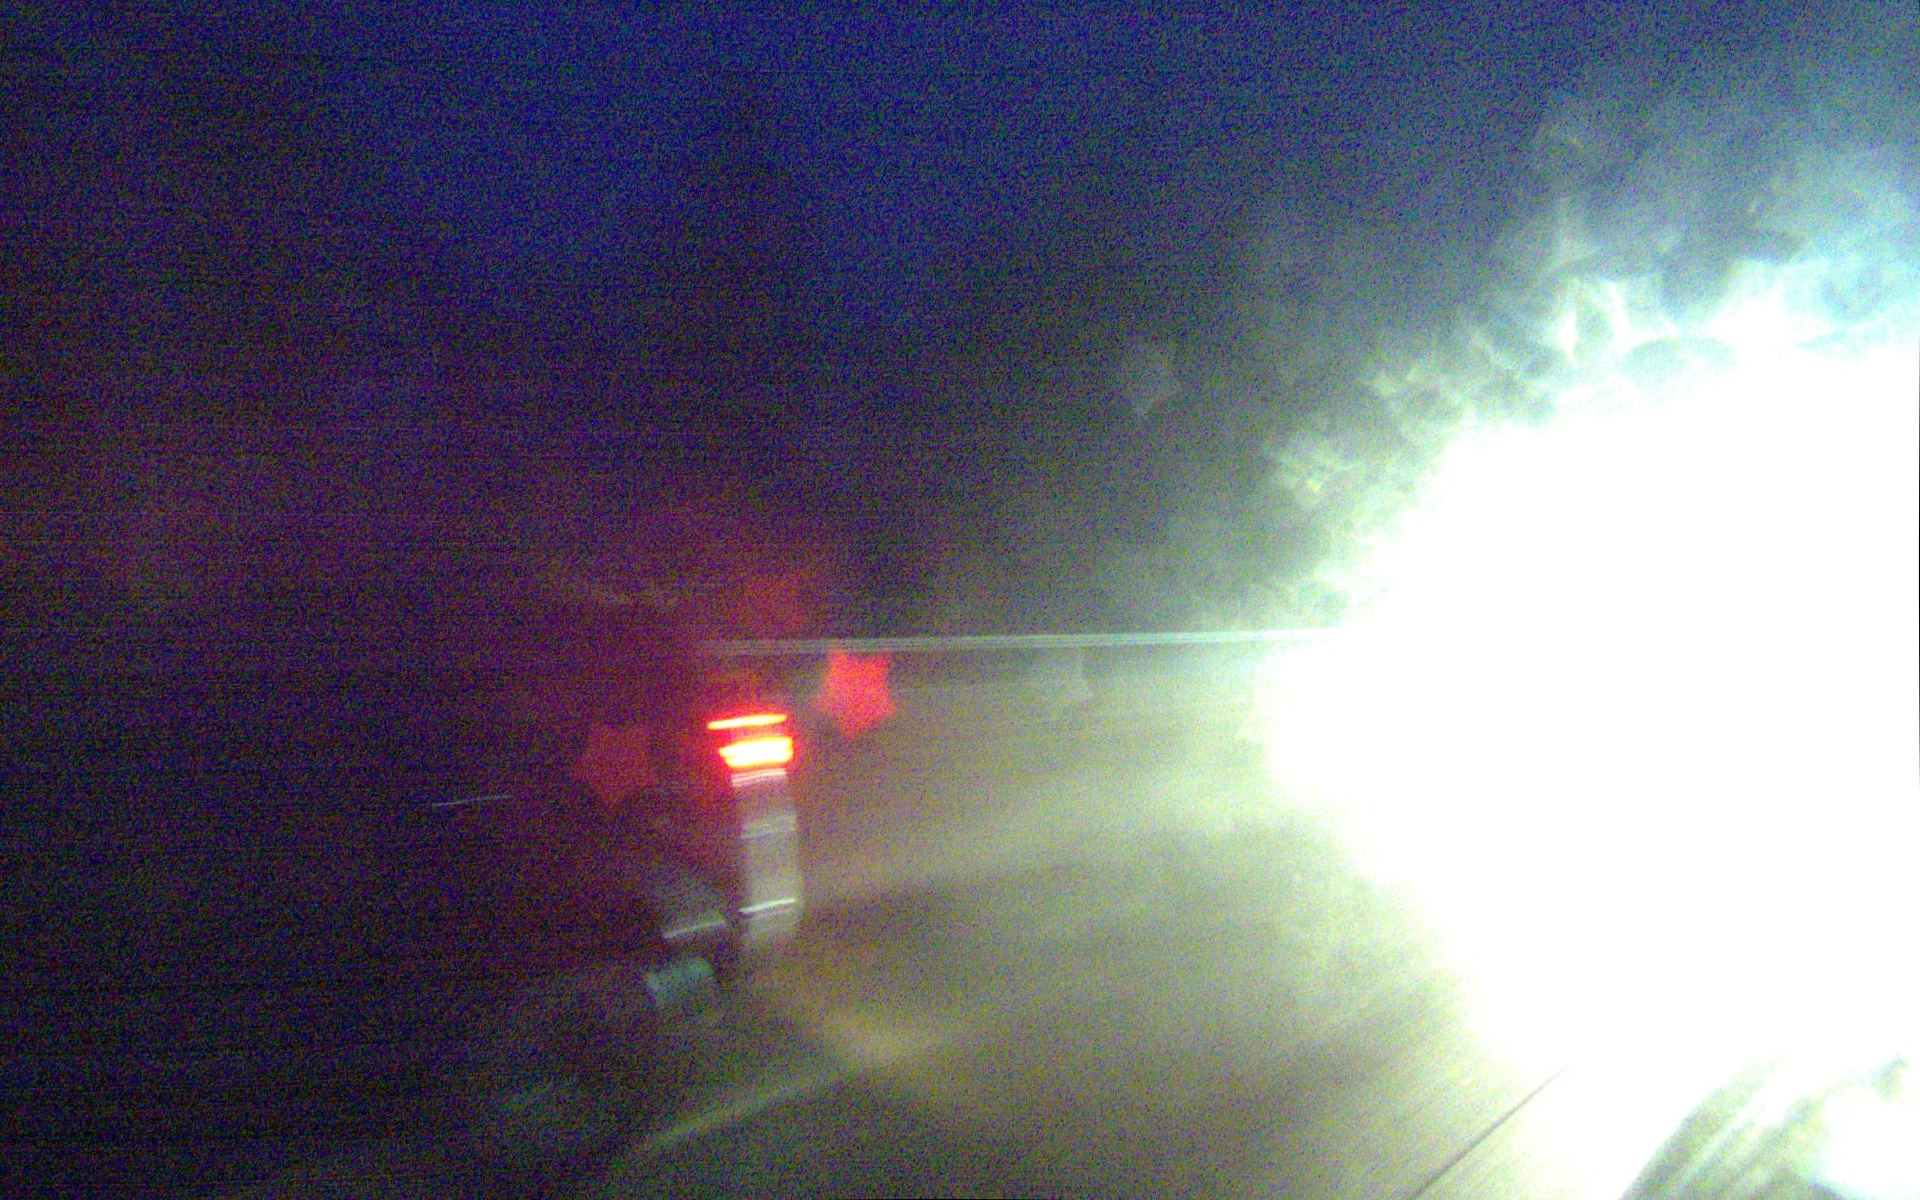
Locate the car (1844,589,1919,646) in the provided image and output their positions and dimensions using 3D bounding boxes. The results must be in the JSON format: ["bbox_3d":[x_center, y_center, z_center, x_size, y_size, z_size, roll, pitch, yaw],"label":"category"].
[{"bbox_3d":[35.491,0.625,38.631,3.928,2.039,1.998,0,1,-39],"label":"car"}]

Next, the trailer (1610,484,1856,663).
[{"bbox_3d":[22.069,-0.680,28.352,13.578,4.029,2.744,-1,0,-41],"label":"trailer"}]

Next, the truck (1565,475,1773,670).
[{"bbox_3d":[16.614,-0.585,23.628,5.107,4.019,2.780,-1,0,-41],"label":"truck"}]

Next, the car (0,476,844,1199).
[{"bbox_3d":[-2.283,0.604,2.387,3.615,1.645,1.846,0,0,-42],"label":"car"}]
